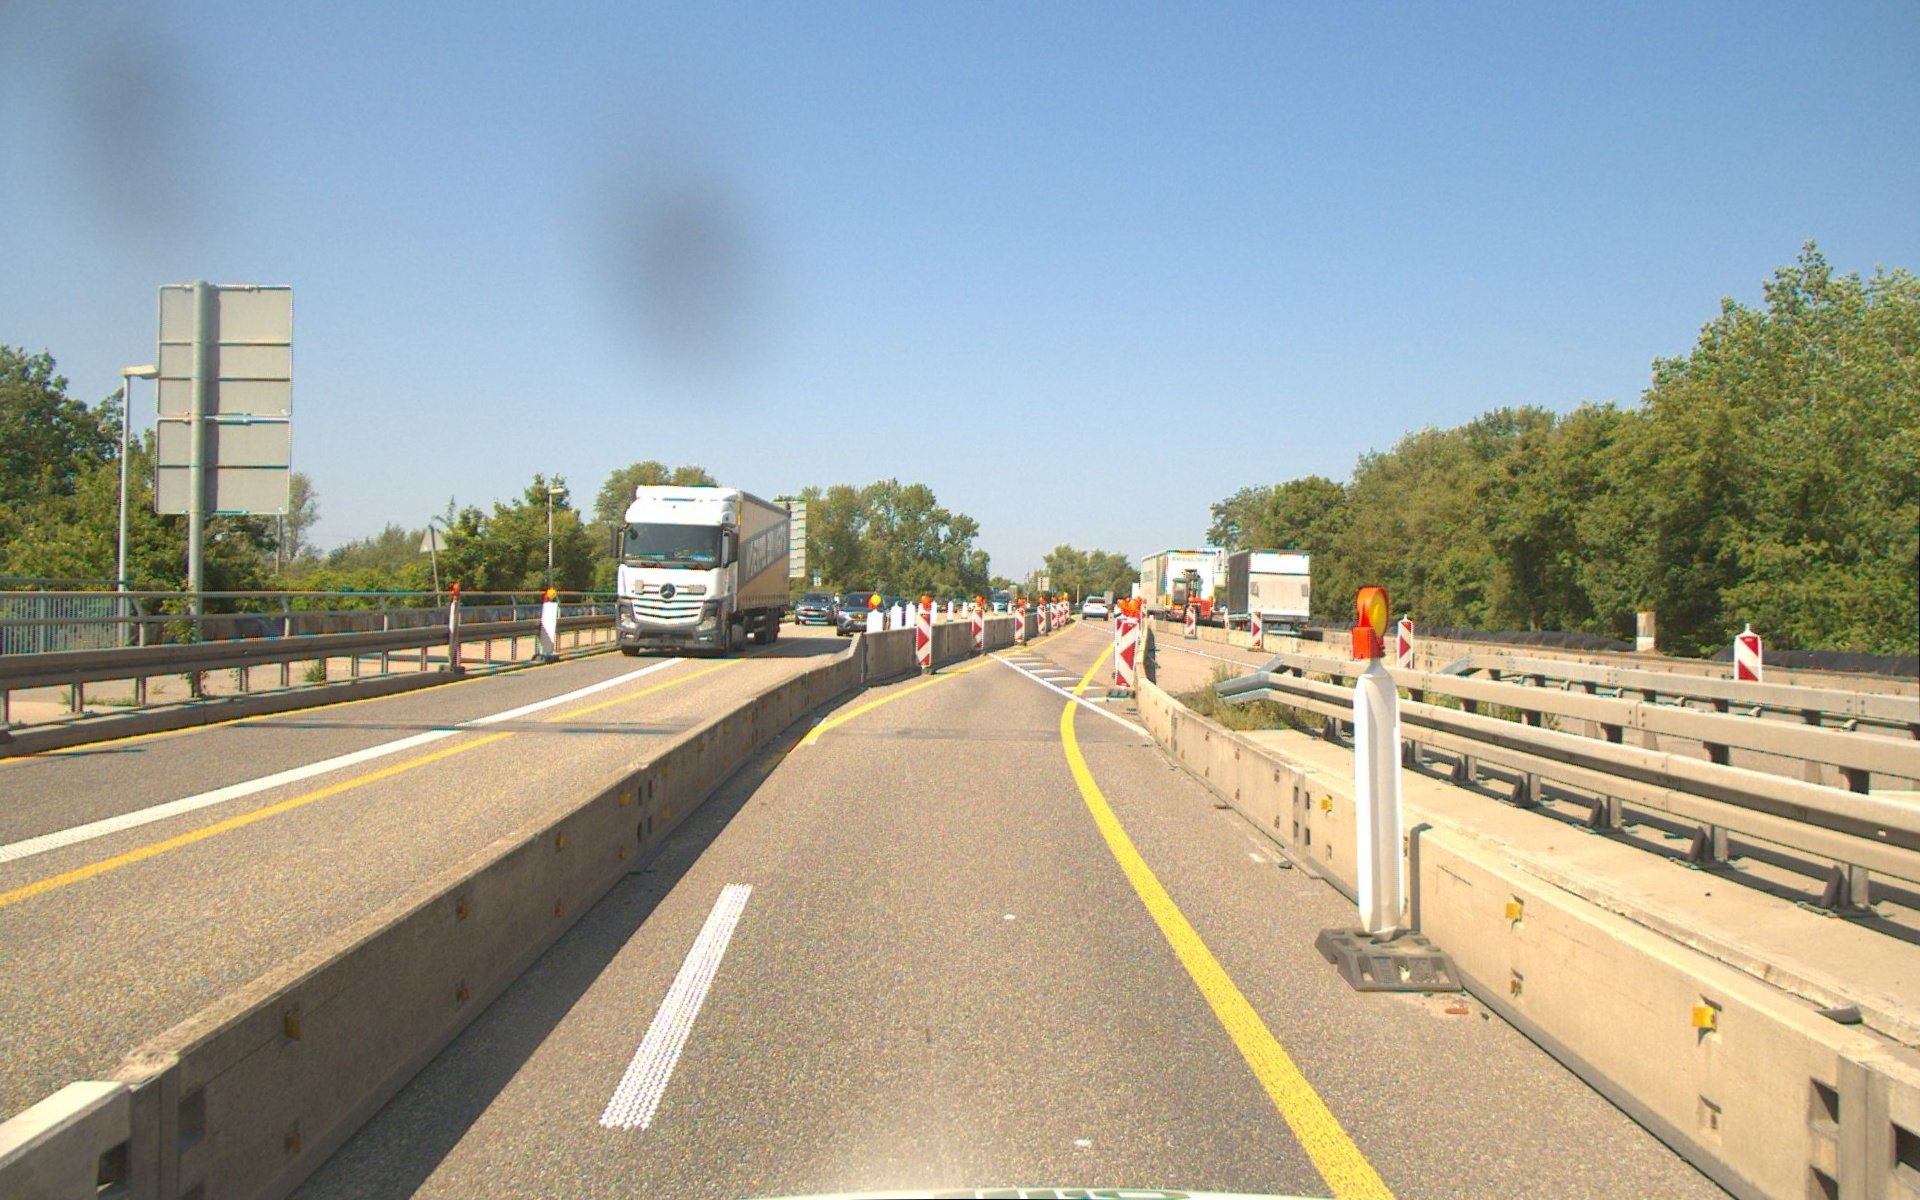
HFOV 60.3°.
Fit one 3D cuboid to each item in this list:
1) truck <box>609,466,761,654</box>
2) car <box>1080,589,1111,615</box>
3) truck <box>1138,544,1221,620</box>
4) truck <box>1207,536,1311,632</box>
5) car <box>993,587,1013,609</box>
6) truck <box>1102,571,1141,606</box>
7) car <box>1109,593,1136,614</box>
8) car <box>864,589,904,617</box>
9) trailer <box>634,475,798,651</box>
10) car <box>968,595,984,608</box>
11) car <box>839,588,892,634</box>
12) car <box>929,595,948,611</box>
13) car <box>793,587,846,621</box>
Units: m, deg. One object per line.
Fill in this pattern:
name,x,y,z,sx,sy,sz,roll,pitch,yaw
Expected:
truck,-6.568,-0.907,40.400,2.693,4.209,6.415,0,0,0
car,9.581,0.121,117.361,1.779,1.807,3.999,0,0,-1
truck,11.490,-0.910,87.210,3.319,3.840,7.231,0,0,-1
truck,11.382,-0.616,63.576,2.581,3.487,7.232,-1,0,-1
car,5.406,-0.270,206.600,2.100,2.707,5.549,1,0,5
truck,20.314,-1.419,208.355,4.133,4.341,10.242,0,0,1
car,14.258,0.320,145.078,1.953,1.807,3.999,0,0,-1
car,-3.859,0.148,84.600,1.654,1.400,4.274,1,0,2
trailer,-6.581,-0.907,47.046,2.705,4.209,14.529,0,0,-1
car,1.833,0.157,187.010,1.683,1.421,4.521,2,0,3
car,-3.442,0.381,60.520,1.754,1.596,3.872,1,0,-1
car,-2.075,0.309,162.969,1.701,1.502,4.646,1,0,1
car,-6.567,0.155,77.869,1.892,1.534,4.470,1,0,2
